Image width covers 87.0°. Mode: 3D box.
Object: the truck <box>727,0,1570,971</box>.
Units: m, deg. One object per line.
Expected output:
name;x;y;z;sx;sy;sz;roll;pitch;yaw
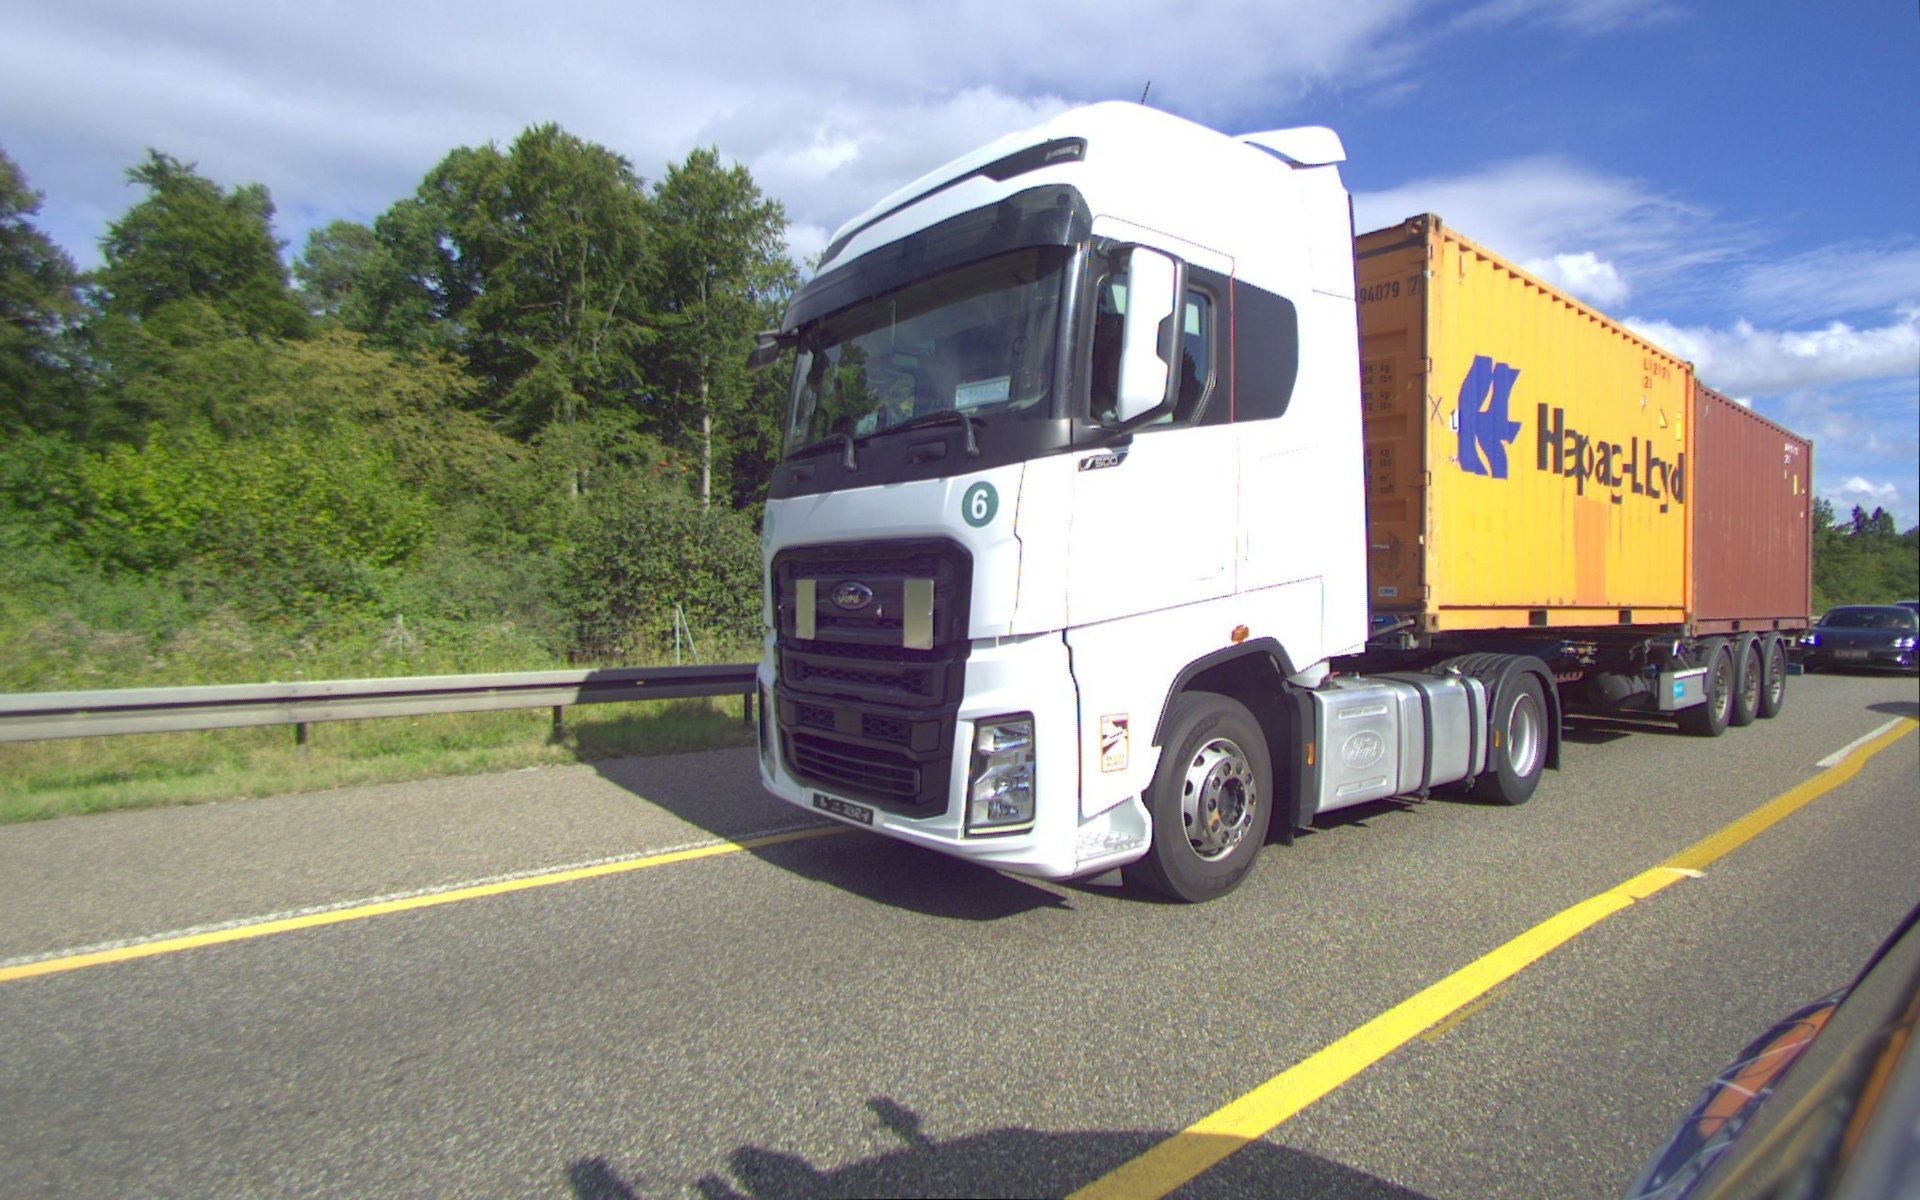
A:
truck;1.622;-0.522;6.699;5.688;3.828;2.499;0;0;-41

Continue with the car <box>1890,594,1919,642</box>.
car;32.252;0.566;33.455;3.898;1.498;1.761;-1;1;-40

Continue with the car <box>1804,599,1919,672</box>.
car;19.408;0.663;21.213;4.399;1.367;1.932;0;0;-41

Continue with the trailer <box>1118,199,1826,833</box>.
trailer;6.559;-0.534;10.939;11.922;3.822;2.476;0;0;-41
